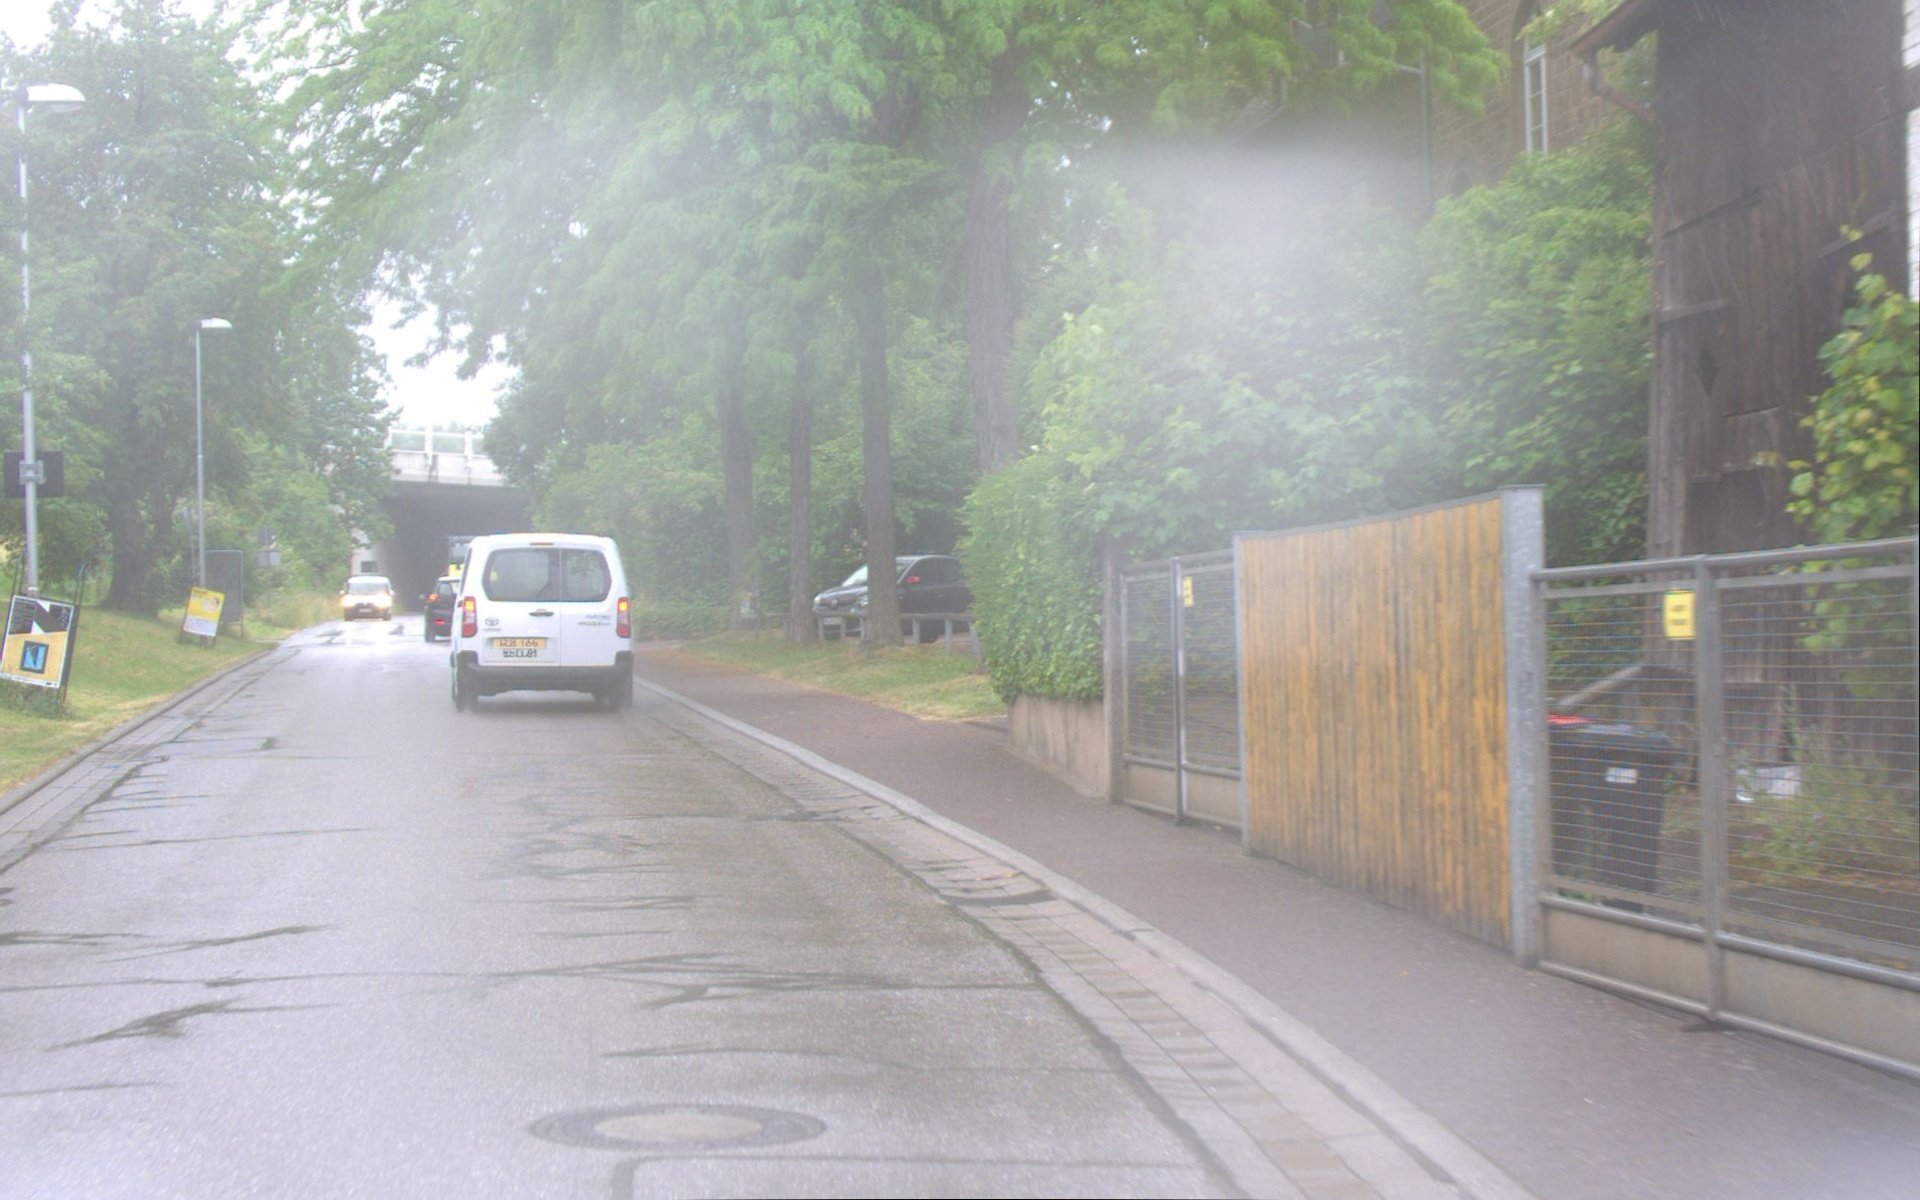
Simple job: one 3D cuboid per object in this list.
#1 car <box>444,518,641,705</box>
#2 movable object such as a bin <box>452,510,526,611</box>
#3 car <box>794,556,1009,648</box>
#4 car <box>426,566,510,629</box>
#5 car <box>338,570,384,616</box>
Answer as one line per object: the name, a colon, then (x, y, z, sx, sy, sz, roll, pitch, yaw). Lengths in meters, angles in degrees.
car: (-4.418, 0.087, 36.020, 1.896, 1.801, 4.001, -1, 1, -8)
movable object such as a bin: (-12.180, -0.979, 89.041, 1.761, 2.539, 4.239, 0, 0, -6)
car: (-0.997, 0.025, 59.937, 3.604, 1.546, 1.621, -1, -1, -45)
car: (-11.026, -0.044, 77.250, 1.708, 1.373, 4.001, 0, 0, -6)
car: (-24.172, -0.271, 138.638, 1.823, 1.825, 4.308, 0, 0, -10)
